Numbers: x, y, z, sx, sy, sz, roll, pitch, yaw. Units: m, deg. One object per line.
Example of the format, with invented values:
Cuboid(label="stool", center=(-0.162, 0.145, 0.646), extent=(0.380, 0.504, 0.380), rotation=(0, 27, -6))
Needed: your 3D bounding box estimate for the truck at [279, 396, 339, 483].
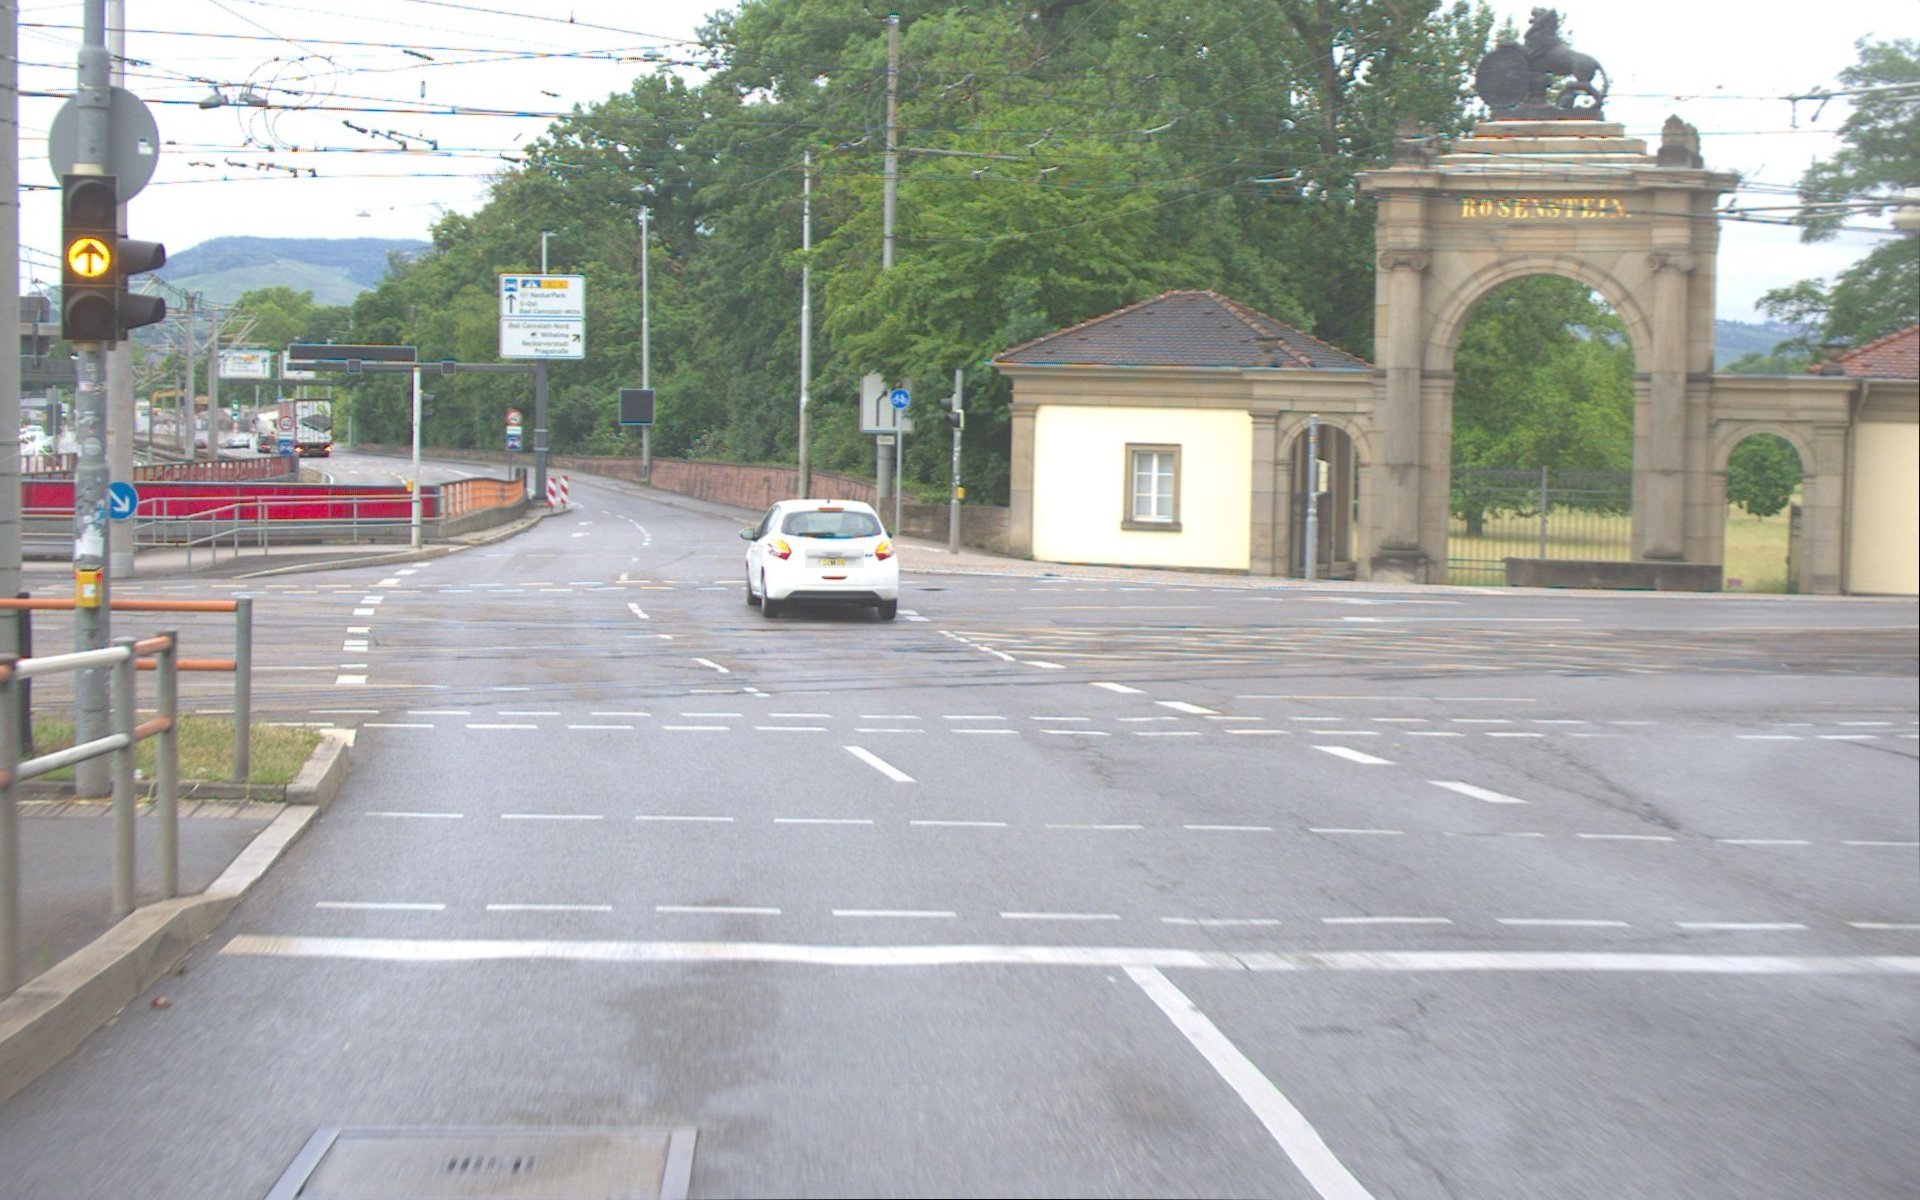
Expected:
Cuboid(label="truck", center=(-45.435, -11.096, 239.679), extent=(3.463, 5.382, 12.055), rotation=(1, 0, -13))

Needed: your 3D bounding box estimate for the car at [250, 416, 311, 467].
Cuboid(label="car", center=(-25.918, -6.031, 131.029), extent=(1.993, 1.866, 4.002), rotation=(-1, 2, -15))

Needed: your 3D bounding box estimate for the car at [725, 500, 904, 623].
Cuboid(label="car", center=(-1.915, -0.462, 44.102), extent=(1.955, 1.483, 4.001), rotation=(1, 0, -7))
